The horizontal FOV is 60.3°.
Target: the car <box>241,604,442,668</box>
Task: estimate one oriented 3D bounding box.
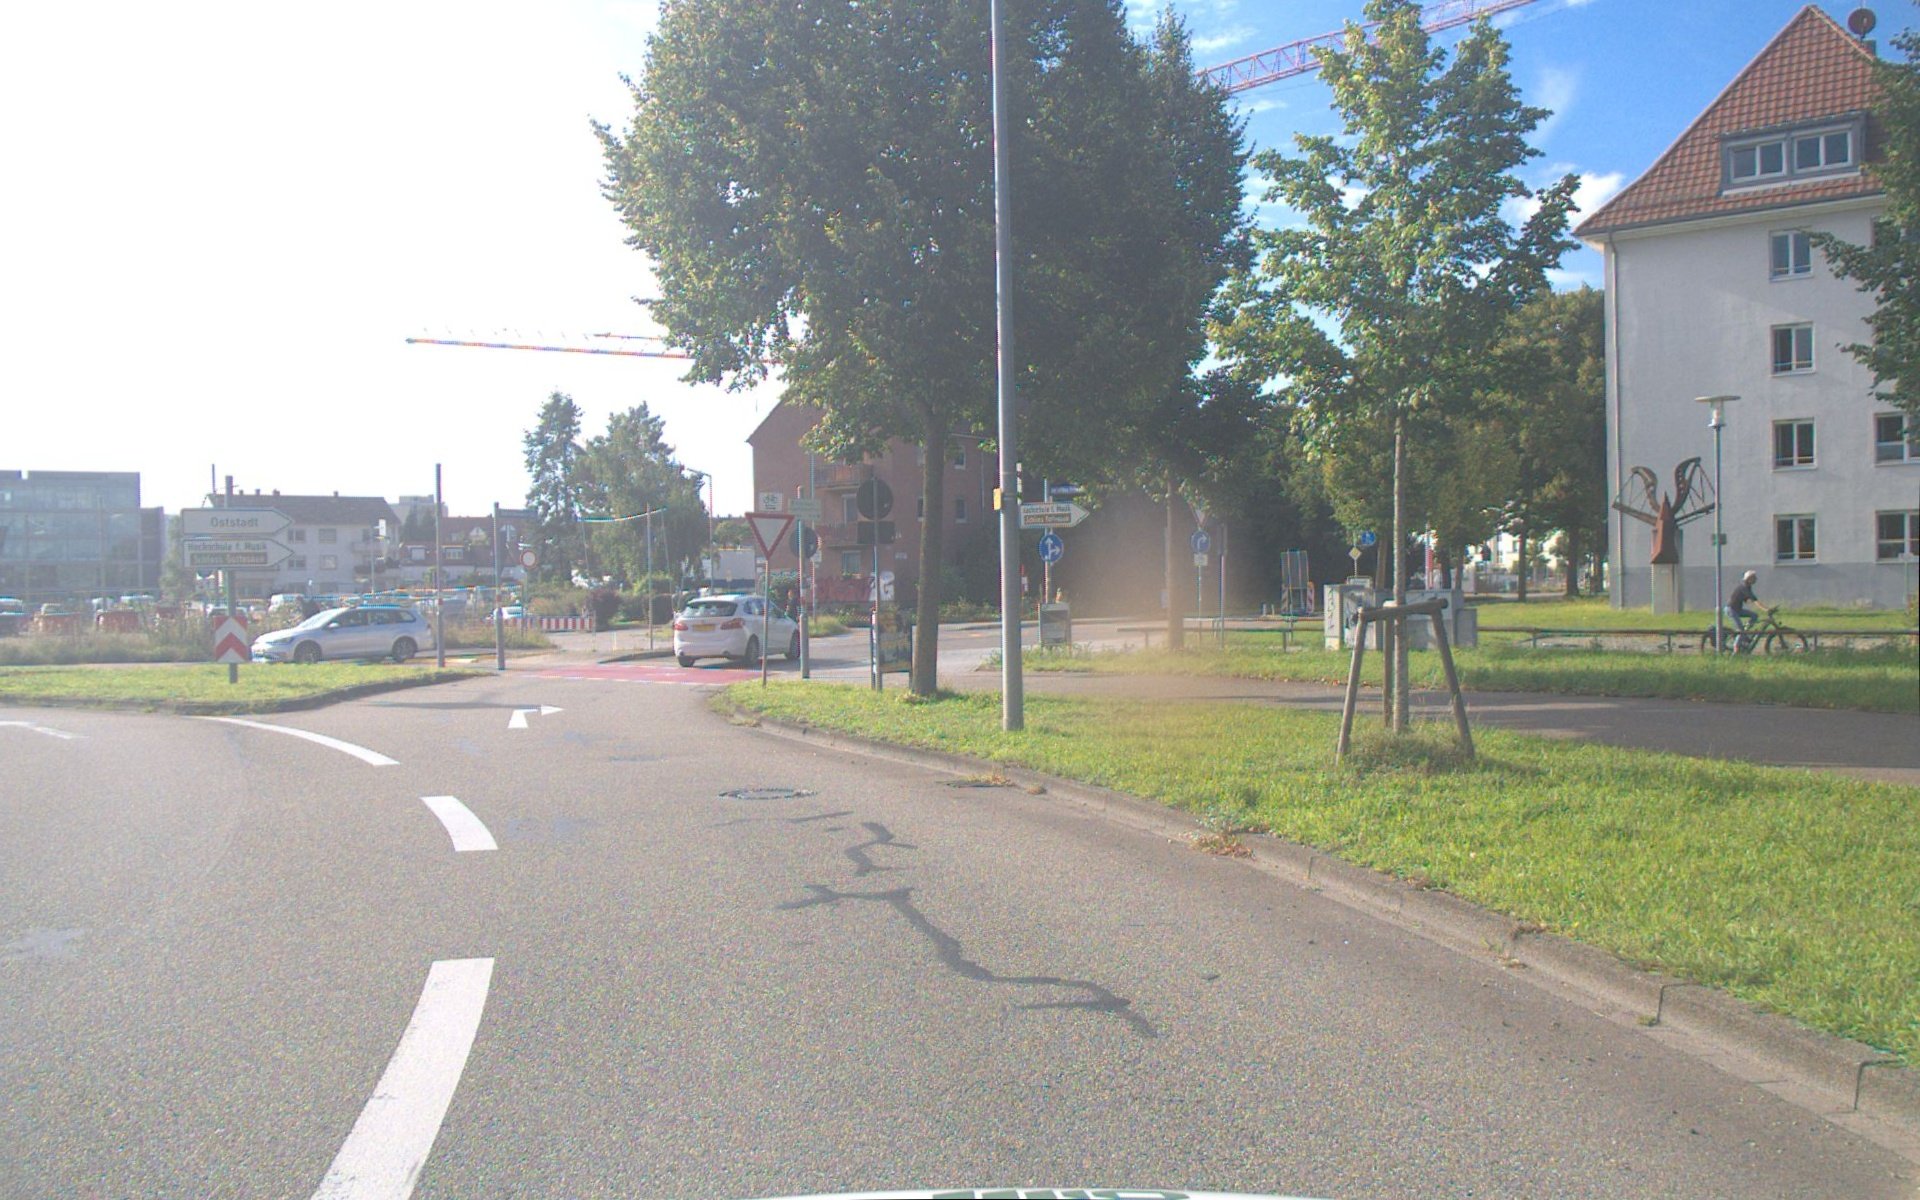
[{"bbox_3d":[-15.809,0.892,42.441,1.791,1.477,4.515,-1,0,42],"label":"car"}]

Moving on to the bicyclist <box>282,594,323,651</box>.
[{"bbox_3d":[-18.121,0.617,45.555,0.994,1.538,0.700,-2,1,-24],"label":"bicyclist"}]

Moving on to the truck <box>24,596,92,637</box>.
[{"bbox_3d":[-53.912,0.986,98.816,2.314,2.369,6.357,-1,0,-40],"label":"truck"}]

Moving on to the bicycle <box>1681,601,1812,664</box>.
[{"bbox_3d":[14.885,0.597,31.332,2.113,1.157,0.767,0,0,44],"label":"bicycle"}]

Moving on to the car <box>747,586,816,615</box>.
[{"bbox_3d":[-10.779,0.001,100.212,3.905,1.646,1.773,-1,0,1],"label":"car"}]

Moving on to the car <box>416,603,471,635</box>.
[{"bbox_3d":[-31.623,1.173,101.188,1.867,1.847,3.943,-1,0,-39],"label":"car"}]

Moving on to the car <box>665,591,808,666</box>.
[{"bbox_3d":[-5.084,0.596,38.224,1.811,1.600,4.459,0,1,13],"label":"car"}]

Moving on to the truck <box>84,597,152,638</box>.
[{"bbox_3d":[-51.541,1.055,101.157,2.314,2.369,6.357,-1,0,-40],"label":"truck"}]

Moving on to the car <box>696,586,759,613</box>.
[{"bbox_3d":[-14.872,-0.017,105.581,3.914,1.646,1.769,-1,0,-10],"label":"car"}]

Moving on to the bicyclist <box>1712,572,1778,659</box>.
[{"bbox_3d":[14.875,0.284,31.335,0.943,1.602,0.767,0,0,43],"label":"bicyclist"}]

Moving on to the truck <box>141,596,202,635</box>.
[{"bbox_3d":[-49.160,0.978,103.078,2.045,2.369,5.555,-1,0,-40],"label":"truck"}]

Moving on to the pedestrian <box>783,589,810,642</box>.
[{"bbox_3d":[-5.886,0.558,59.659,0.653,1.903,0.836,-1,0,18],"label":"pedestrian"}]
